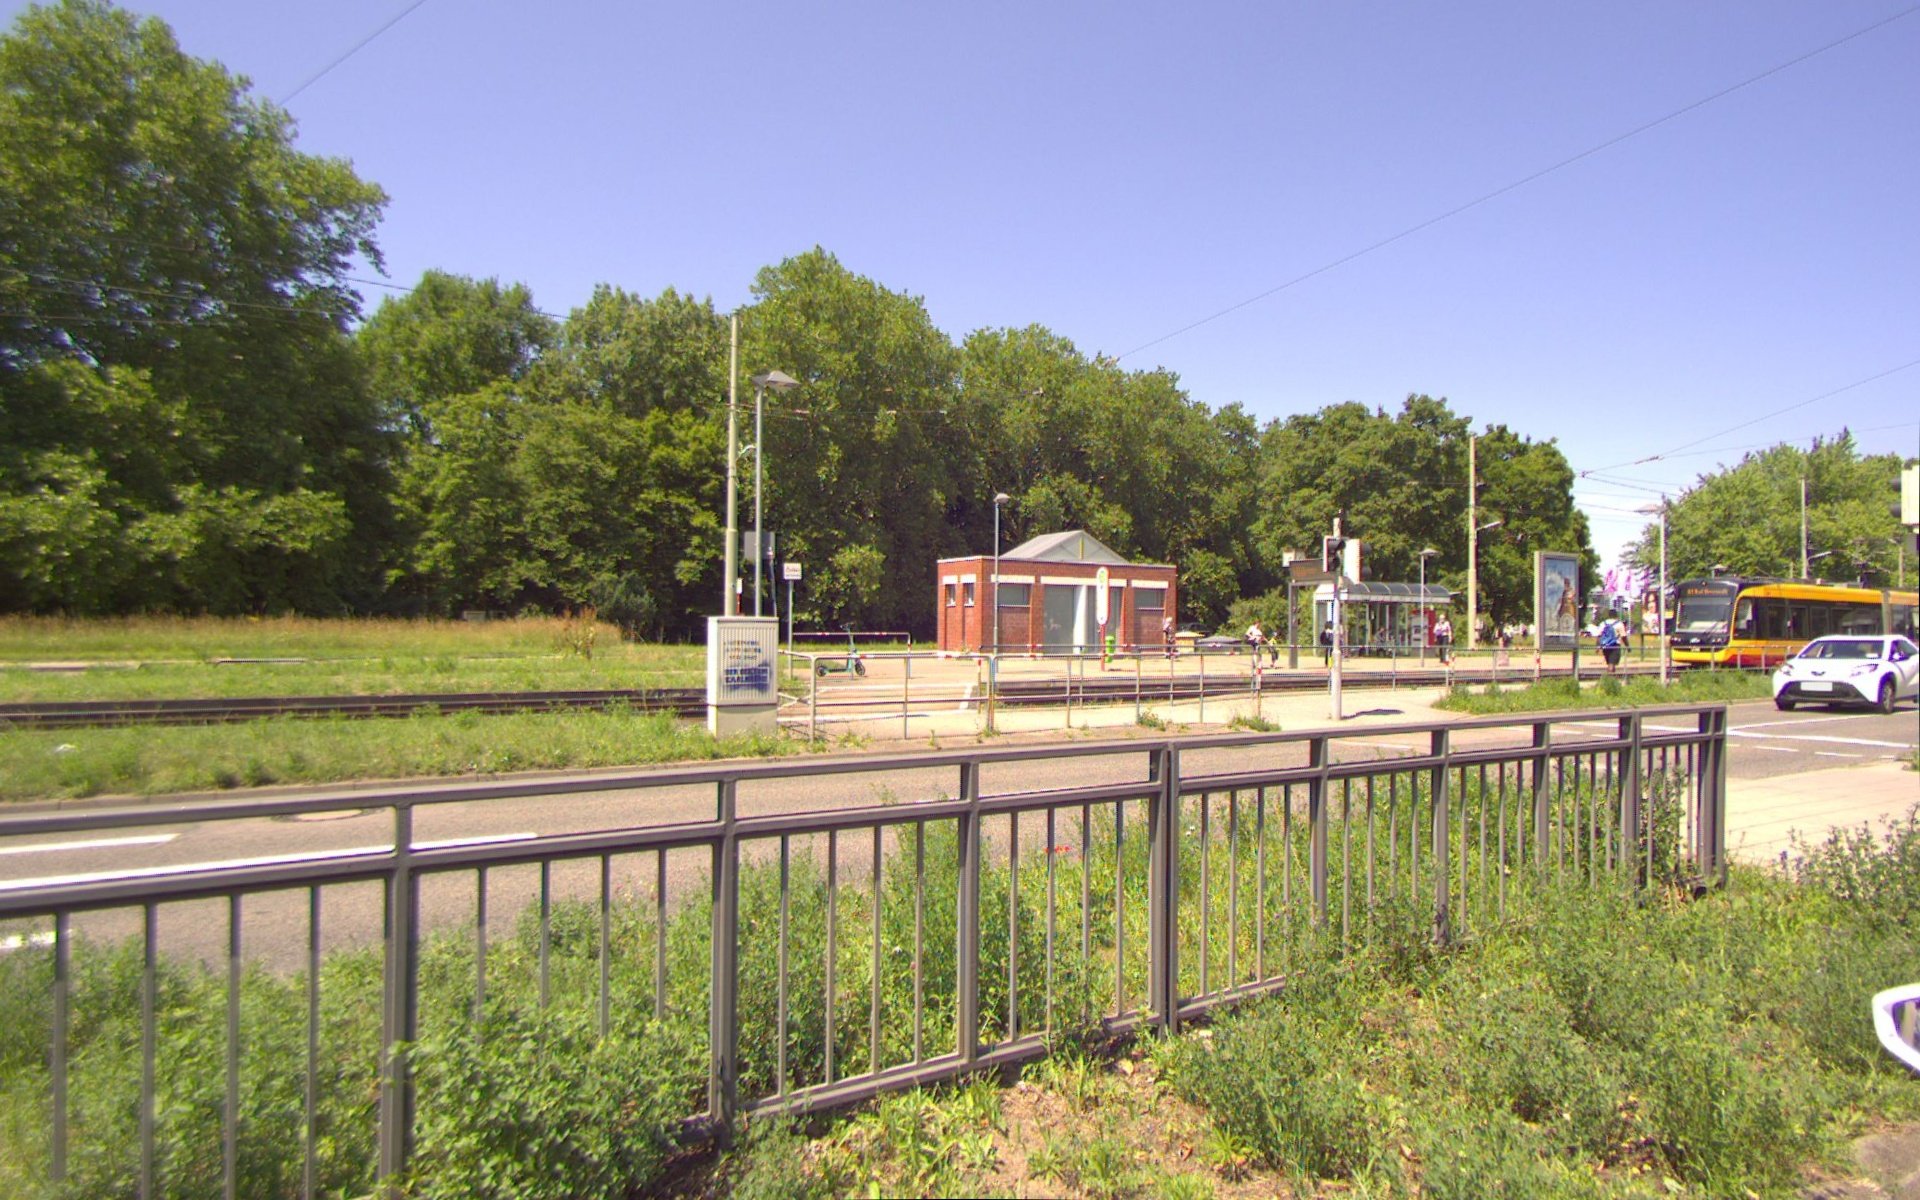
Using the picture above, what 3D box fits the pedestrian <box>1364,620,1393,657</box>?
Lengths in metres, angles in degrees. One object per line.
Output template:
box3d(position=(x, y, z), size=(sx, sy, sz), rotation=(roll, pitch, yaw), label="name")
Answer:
box3d(position=(17.242, 1.578, 41.371), size=(0.710, 1.531, 0.841), rotation=(1, -1, -19), label="pedestrian")

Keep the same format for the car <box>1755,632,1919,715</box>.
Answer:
box3d(position=(18.114, 1.422, 20.436), size=(3.747, 1.514, 1.836), rotation=(1, -1, -30), label="car")

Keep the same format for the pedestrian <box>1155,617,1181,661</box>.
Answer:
box3d(position=(7.139, 1.336, 34.495), size=(0.563, 1.499, 0.636), rotation=(1, -1, -30), label="pedestrian")

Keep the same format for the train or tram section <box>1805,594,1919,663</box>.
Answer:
box3d(position=(60.106, 1.846, 65.248), size=(3.165, 3.984, 18.487), rotation=(0, -1, 25), label="train or tram section")

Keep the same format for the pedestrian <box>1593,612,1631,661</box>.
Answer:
box3d(position=(27.574, 1.546, 42.485), size=(1.009, 2.040, 0.976), rotation=(1, -1, -30), label="pedestrian")

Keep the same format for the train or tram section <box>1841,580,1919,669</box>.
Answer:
box3d(position=(49.591, 1.312, 51.921), size=(18.344, 3.984, 3.189), rotation=(2, -1, -40), label="train or tram section")

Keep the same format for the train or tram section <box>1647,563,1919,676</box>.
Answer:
box3d(position=(34.880, 0.895, 41.671), size=(18.286, 3.984, 3.200), rotation=(1, -1, -31), label="train or tram section")

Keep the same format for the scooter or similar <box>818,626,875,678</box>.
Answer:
box3d(position=(-2.639, 1.207, 23.447), size=(1.217, 1.183, 0.508), rotation=(1, -1, -30), label="scooter or similar")

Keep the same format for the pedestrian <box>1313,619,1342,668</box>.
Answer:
box3d(position=(11.862, 1.393, 32.389), size=(0.688, 1.575, 0.629), rotation=(1, -1, -42), label="pedestrian")

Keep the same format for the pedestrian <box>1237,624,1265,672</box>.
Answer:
box3d(position=(9.120, 1.488, 31.507), size=(0.576, 1.476, 0.636), rotation=(1, -1, -30), label="pedestrian")

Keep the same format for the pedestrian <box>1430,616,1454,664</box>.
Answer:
box3d(position=(18.425, 1.513, 38.408), size=(0.707, 1.824, 0.845), rotation=(0, -1, 17), label="pedestrian")

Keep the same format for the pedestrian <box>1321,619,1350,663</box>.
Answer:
box3d(position=(14.078, 1.522, 37.671), size=(0.799, 1.611, 0.668), rotation=(1, -1, -30), label="pedestrian")

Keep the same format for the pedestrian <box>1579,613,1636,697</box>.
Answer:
box3d(position=(14.789, 1.231, 22.943), size=(0.832, 1.802, 0.714), rotation=(-1, 5, -30), label="pedestrian")

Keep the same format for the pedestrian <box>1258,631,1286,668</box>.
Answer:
box3d(position=(9.924, 1.575, 31.990), size=(0.563, 1.139, 0.636), rotation=(1, -1, -30), label="pedestrian")

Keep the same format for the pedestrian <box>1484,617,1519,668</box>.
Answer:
box3d(position=(20.030, 1.554, 37.151), size=(0.832, 1.802, 0.714), rotation=(-1, 5, -30), label="pedestrian")
